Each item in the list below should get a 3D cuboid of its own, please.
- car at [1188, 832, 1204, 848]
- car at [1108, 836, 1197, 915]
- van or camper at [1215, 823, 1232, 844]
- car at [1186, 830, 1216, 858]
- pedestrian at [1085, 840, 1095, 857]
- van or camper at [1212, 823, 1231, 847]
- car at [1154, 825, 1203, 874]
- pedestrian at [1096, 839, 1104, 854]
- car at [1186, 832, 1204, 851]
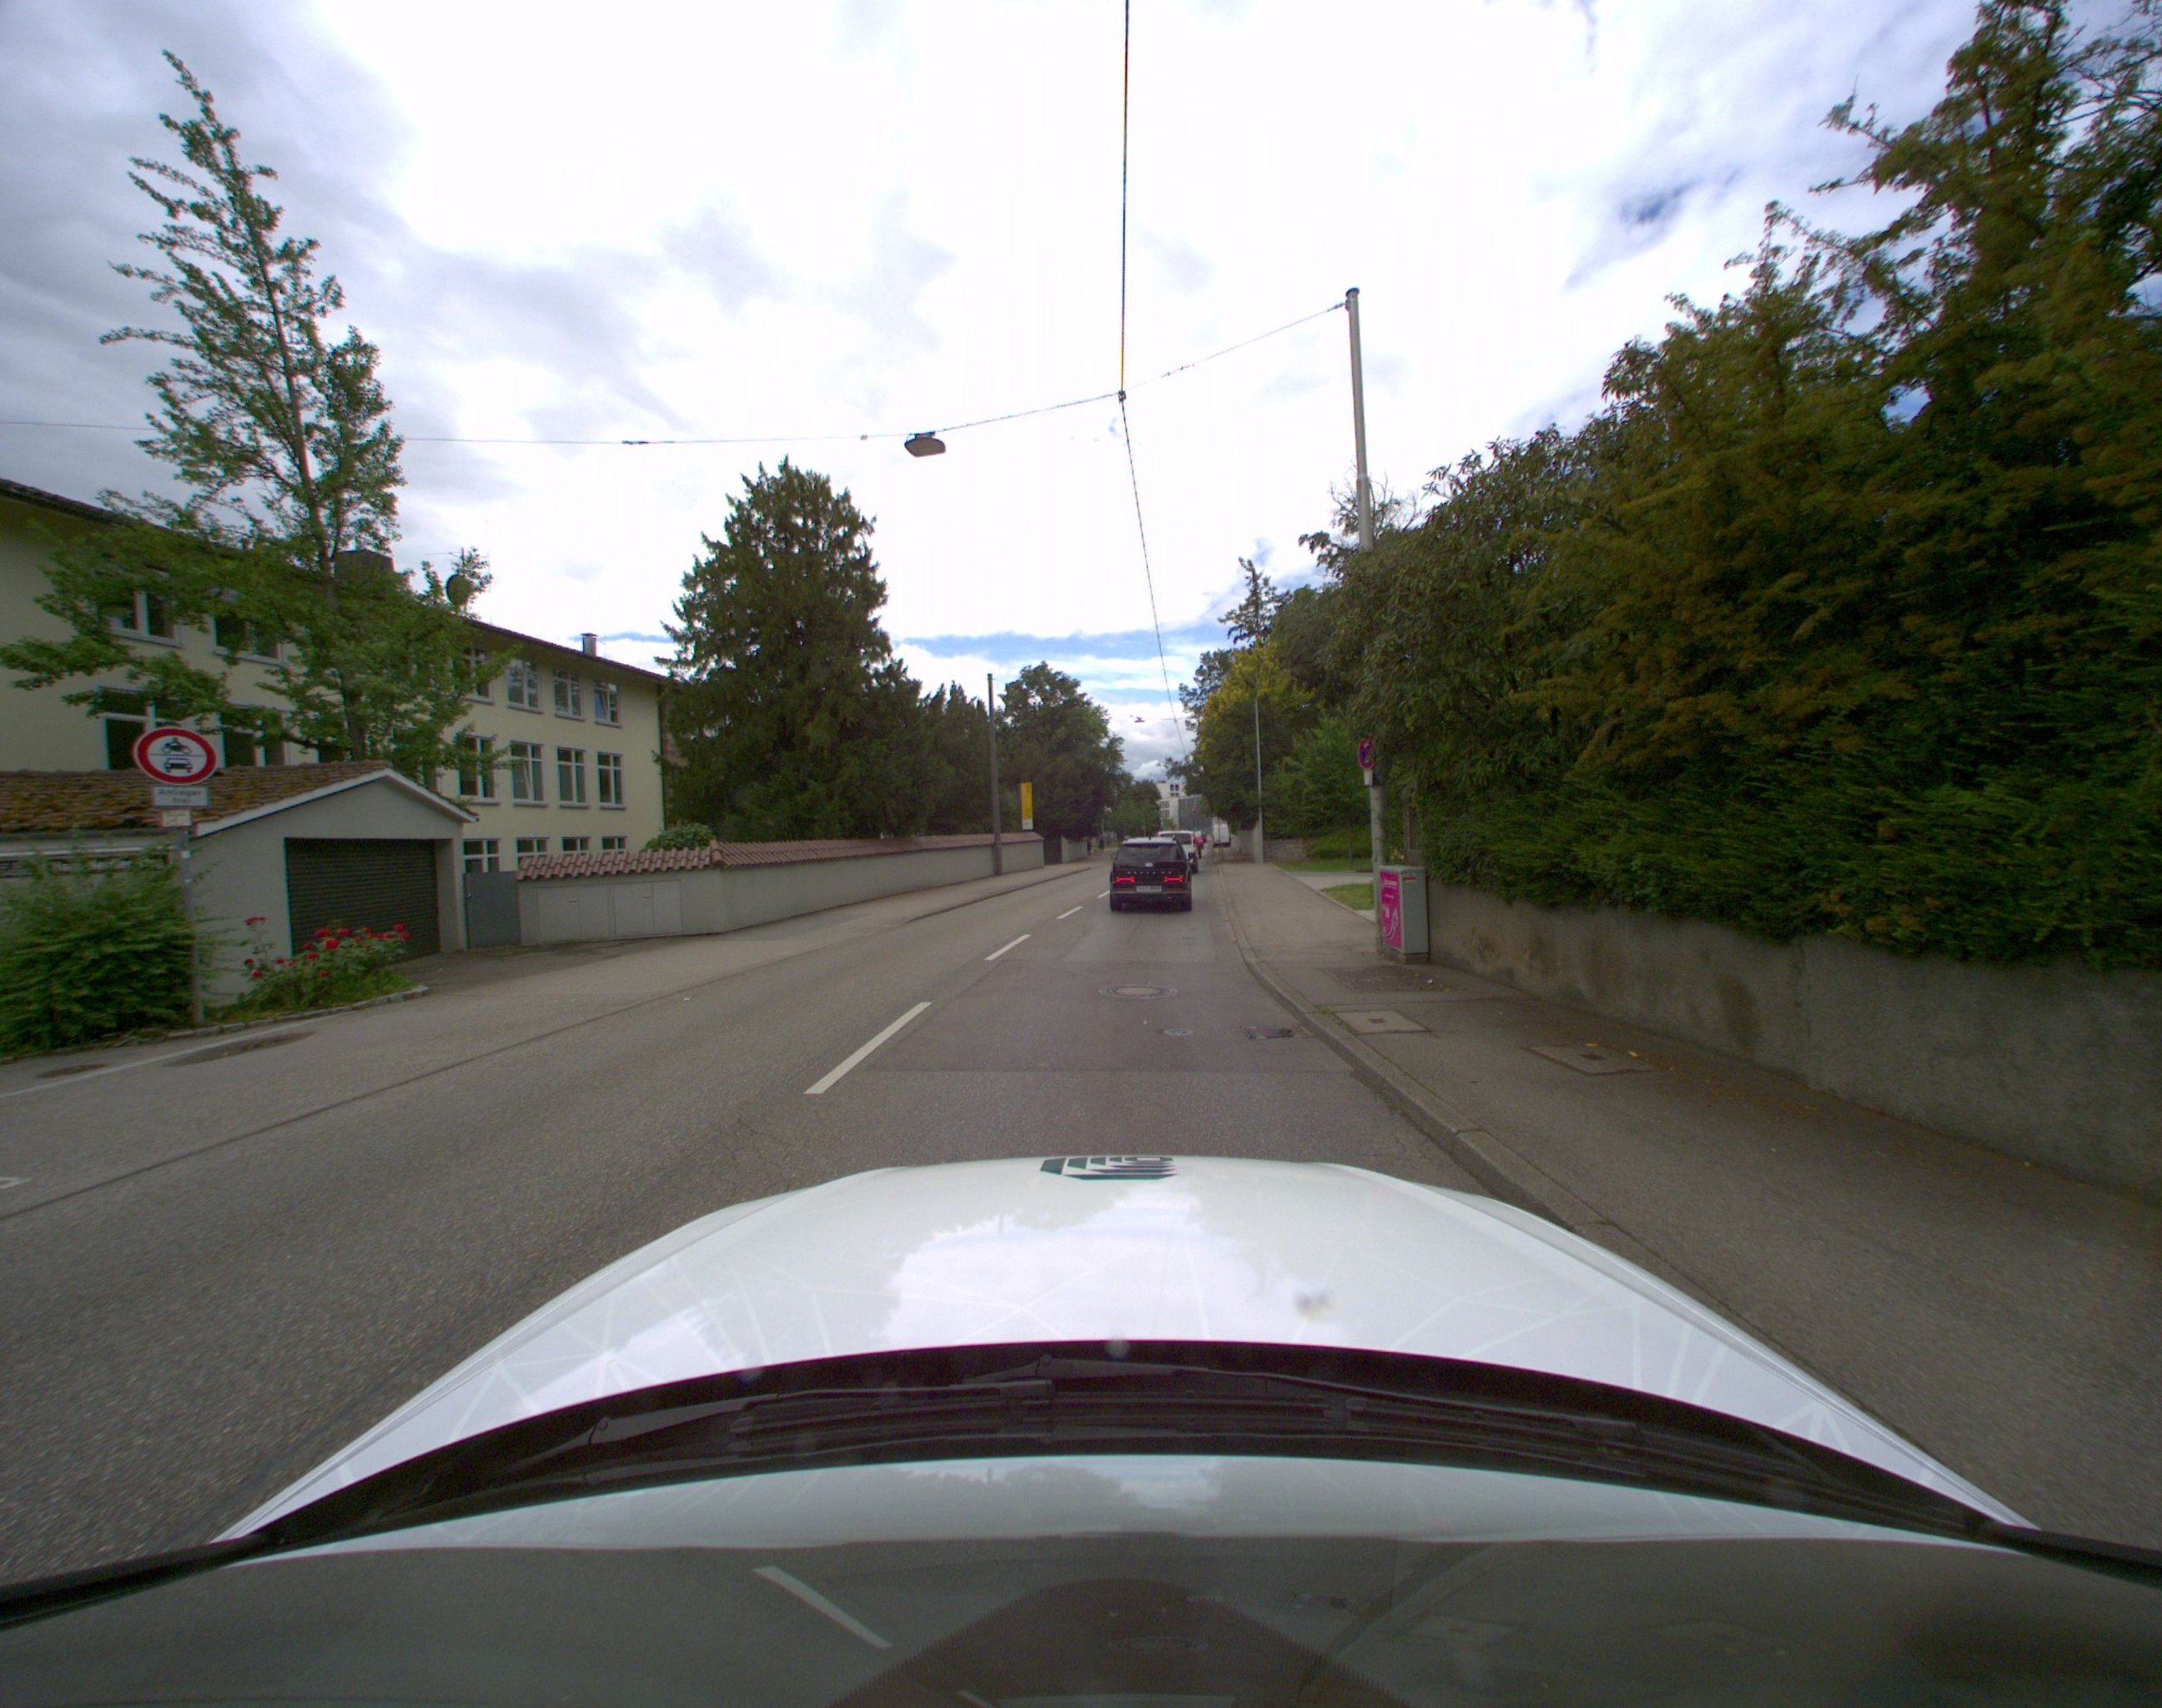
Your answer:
[{"bbox_3d":[14.902,-1.819,105.572,1.952,2.001,4.010,-3,0,8],"label":"car"},{"bbox_3d":[1.742,0.428,19.972,1.954,1.711,4.006,-1,1,5],"label":"car"},{"bbox_3d":[20.162,-2.914,115.279,1.952,2.797,5.300,-4,1,8],"label":"van or camper"},{"bbox_3d":[8.634,-0.727,58.634,1.952,1.902,4.010,-3,0,8],"label":"car"},{"bbox_3d":[0.851,-0.539,78.653,0.921,1.560,0.904,1,0,5],"label":"pedestrian"},{"bbox_3d":[16.653,-2.216,96.727,1.952,2.627,6.374,-4,1,8],"label":"van or camper"},{"bbox_3d":[4.465,-0.207,36.858,1.952,2.001,4.010,-3,1,8],"label":"car"},{"bbox_3d":[1.964,-0.786,85.168,0.744,1.577,0.969,0,1,9],"label":"pedestrian"},{"bbox_3d":[13.149,-1.429,93.606,1.952,2.001,4.010,-3,0,8],"label":"car"}]
